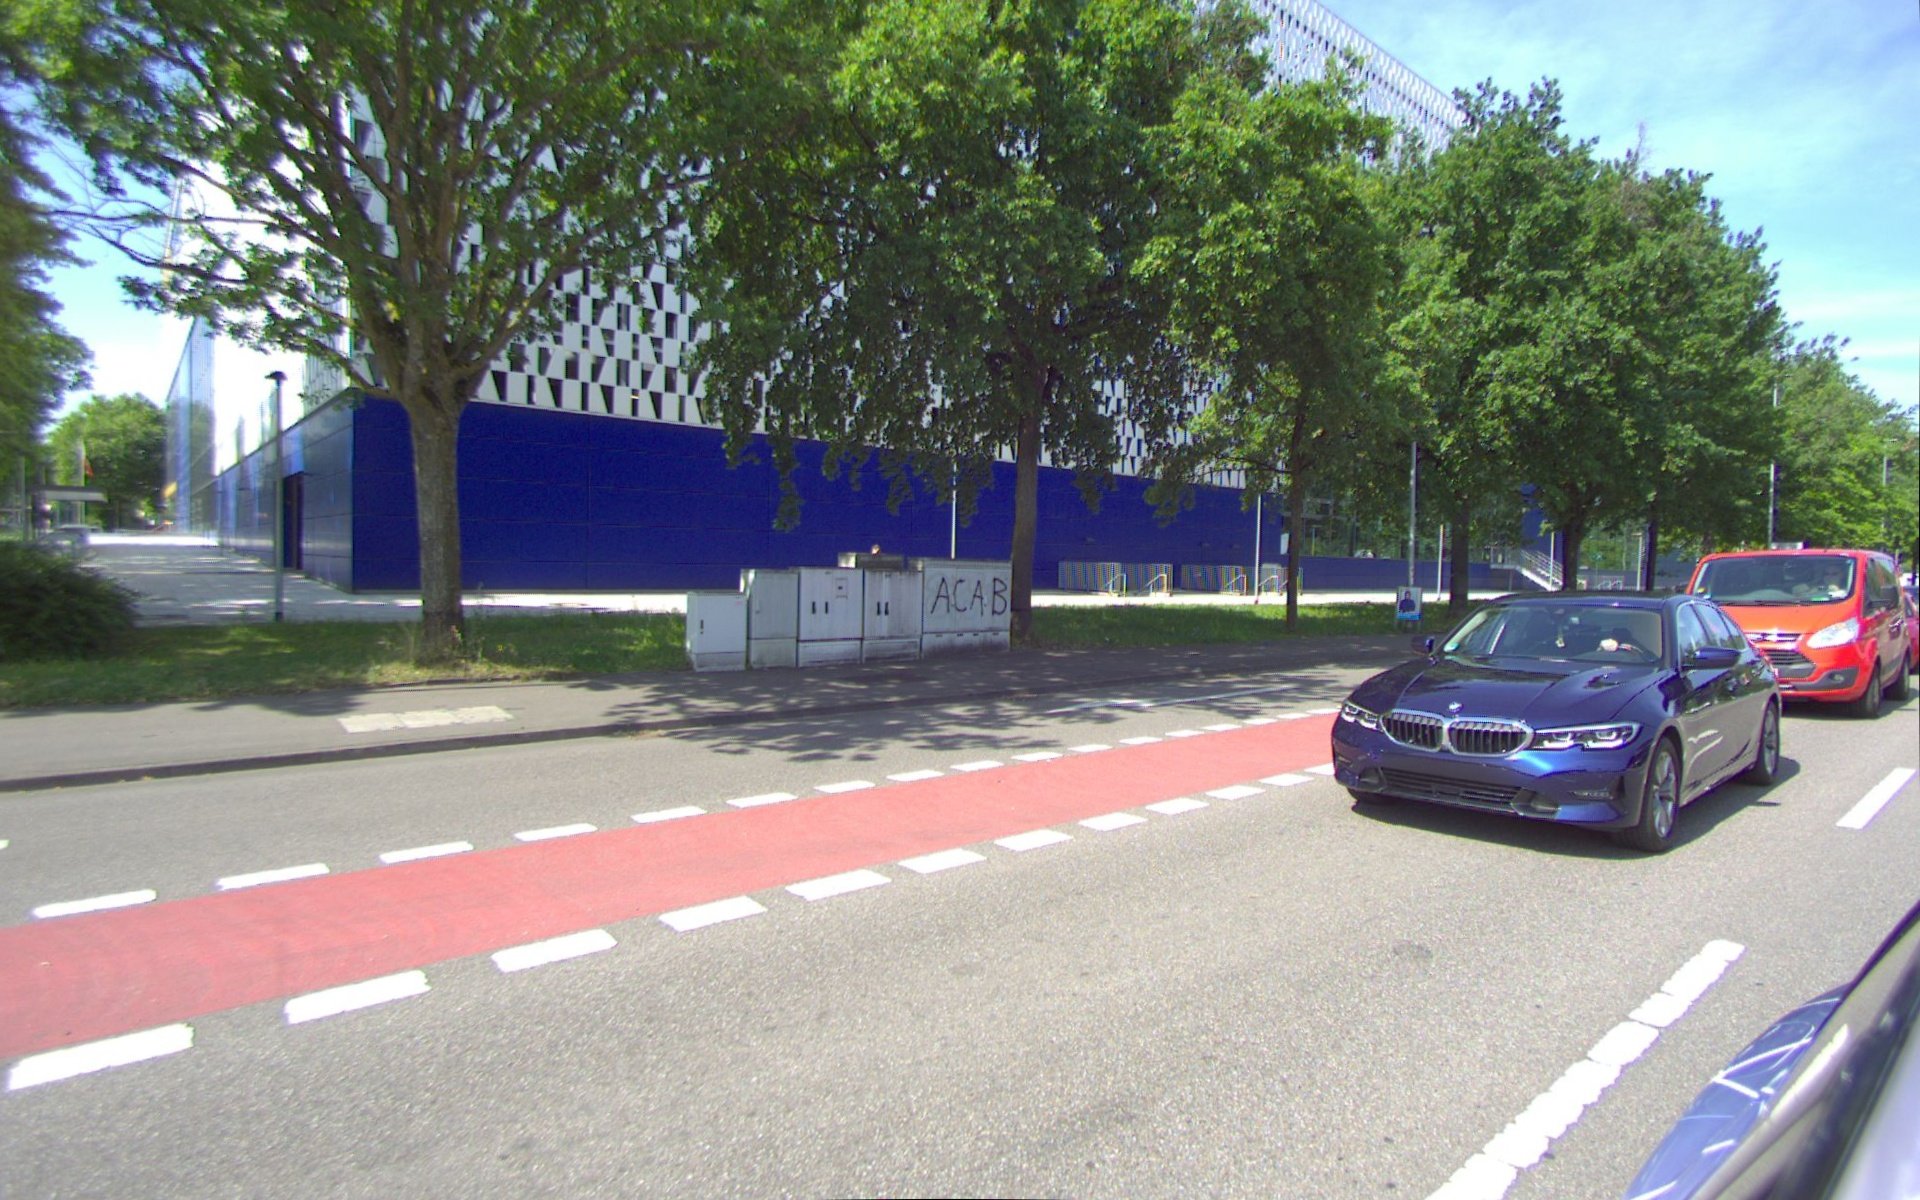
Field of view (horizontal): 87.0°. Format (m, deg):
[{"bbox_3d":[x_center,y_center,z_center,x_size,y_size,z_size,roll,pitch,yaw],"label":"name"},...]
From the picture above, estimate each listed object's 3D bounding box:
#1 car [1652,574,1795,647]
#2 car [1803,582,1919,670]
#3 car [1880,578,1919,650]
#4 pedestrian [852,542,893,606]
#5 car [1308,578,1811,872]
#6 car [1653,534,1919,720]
[{"bbox_3d":[19.275,0.207,25.499,4.314,1.676,1.997,-1,1,-41],"label":"car"},{"bbox_3d":[16.847,0.401,18.512,3.849,1.440,1.690,-1,1,-42],"label":"car"},{"bbox_3d":[22.577,0.282,23.327,3.932,1.559,1.647,-1,0,-42],"label":"car"},{"bbox_3d":[-2.179,-0.644,25.226,0.767,1.565,0.680,0,2,-40],"label":"pedestrian"},{"bbox_3d":[4.443,0.579,7.167,4.460,1.447,1.798,-1,1,-42],"label":"car"},{"bbox_3d":[10.639,0.241,12.802,4.727,1.931,2.012,-1,1,-42],"label":"car"}]
